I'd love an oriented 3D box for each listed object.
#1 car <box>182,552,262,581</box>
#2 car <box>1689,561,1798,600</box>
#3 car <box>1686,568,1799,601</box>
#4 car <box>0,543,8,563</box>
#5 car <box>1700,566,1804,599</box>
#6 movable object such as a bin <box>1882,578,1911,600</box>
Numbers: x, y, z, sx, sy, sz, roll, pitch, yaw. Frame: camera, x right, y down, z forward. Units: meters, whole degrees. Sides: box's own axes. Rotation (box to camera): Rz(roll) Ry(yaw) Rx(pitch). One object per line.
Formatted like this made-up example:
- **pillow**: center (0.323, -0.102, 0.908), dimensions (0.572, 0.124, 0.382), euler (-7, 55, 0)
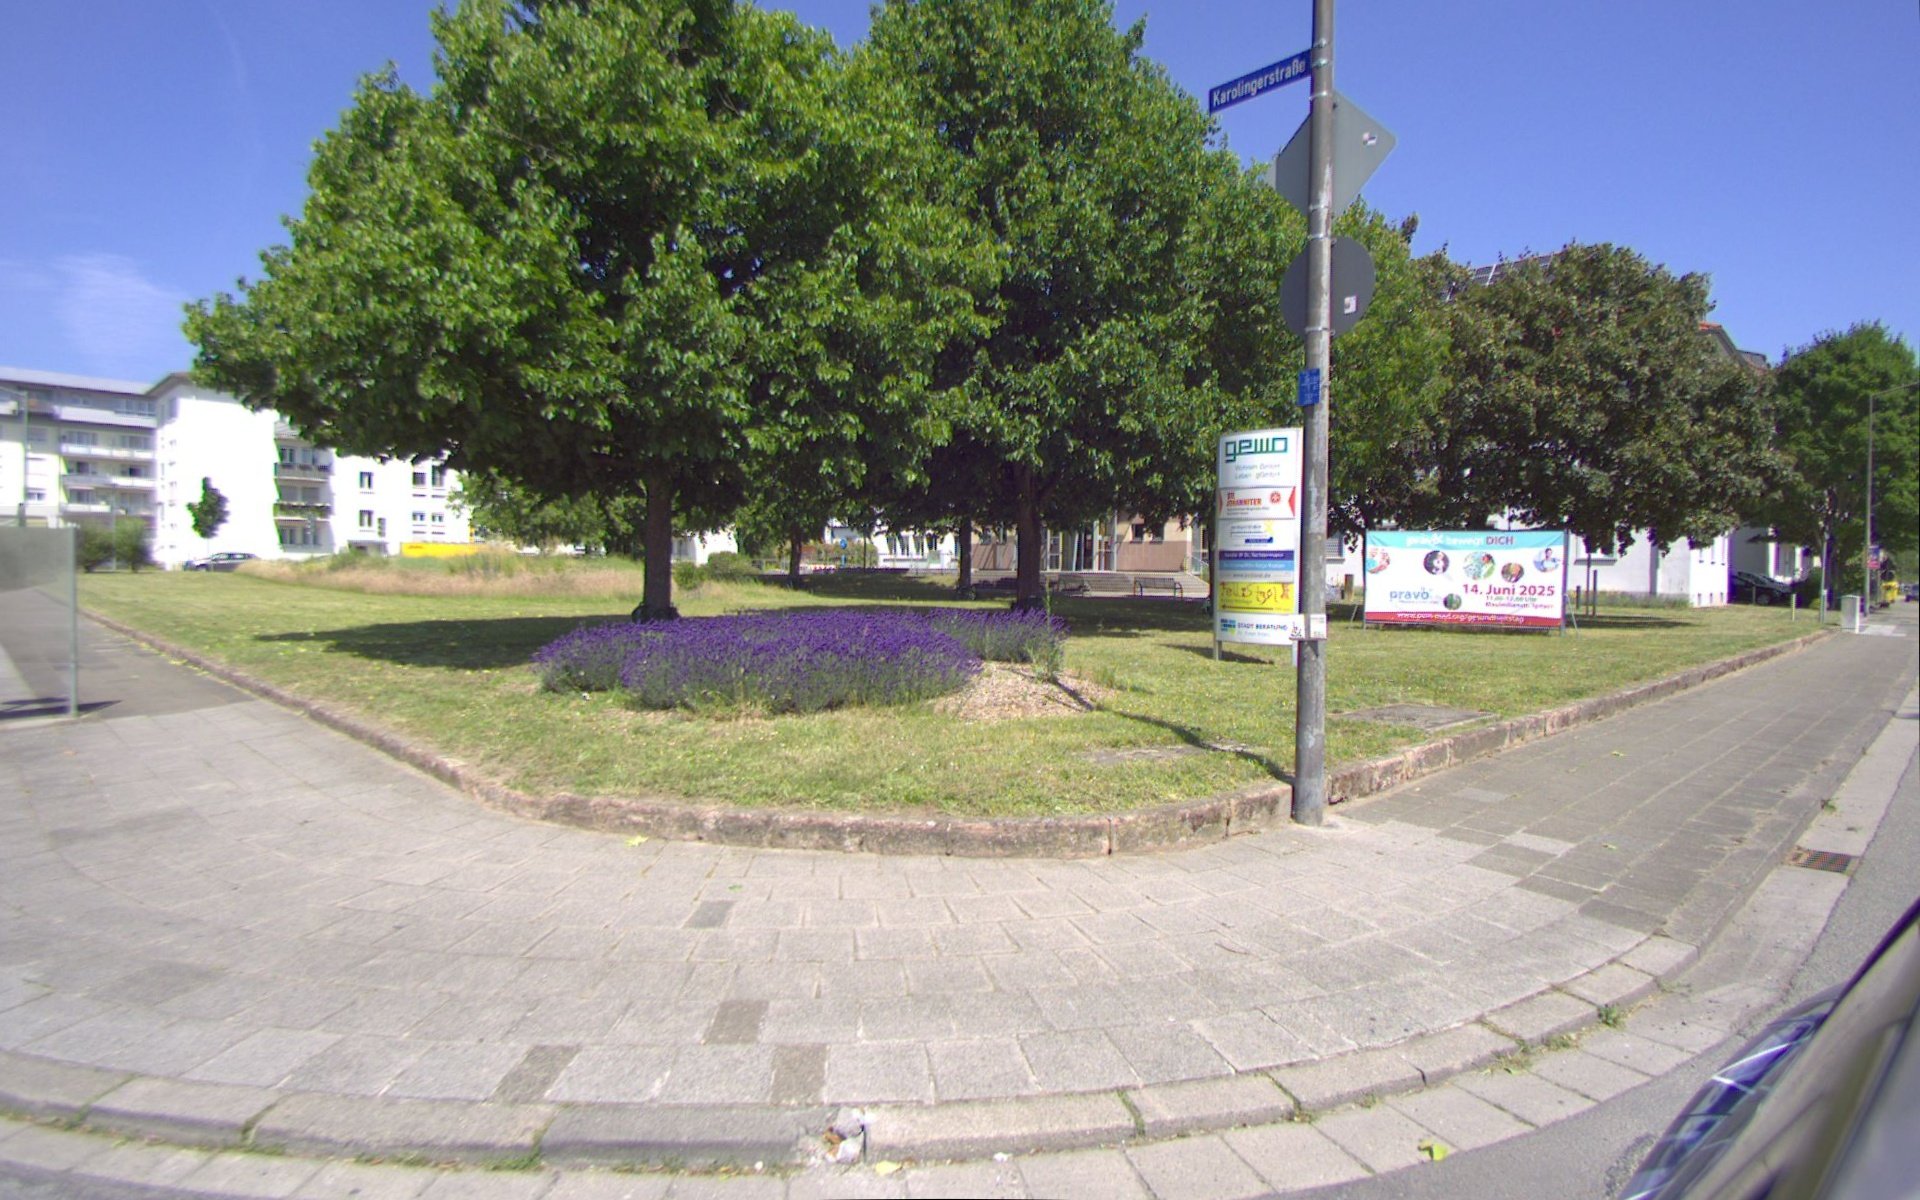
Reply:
- **car**: center (-44.809, -2.046, 61.507), dimensions (3.770, 1.649, 1.506), euler (-2, 0, -44)
- **car**: center (41.375, -1.071, 53.496), dimensions (4.355, 1.808, 1.970), euler (5, 4, 42)
- **car**: center (39.649, -0.807, 51.306), dimensions (4.355, 1.453, 1.970), euler (5, 4, 42)
- **car**: center (-65.649, -3.207, 68.397), dimensions (1.493, 1.342, 3.182), euler (-1, 2, -36)
- **car**: center (43.565, -0.994, 55.725), dimensions (4.355, 1.544, 1.970), euler (5, 4, 42)
- **movable object such as a bin**: center (66.986, -0.806, 72.384), dimensions (1.495, 1.499, 1.401), euler (2, 2, 43)
